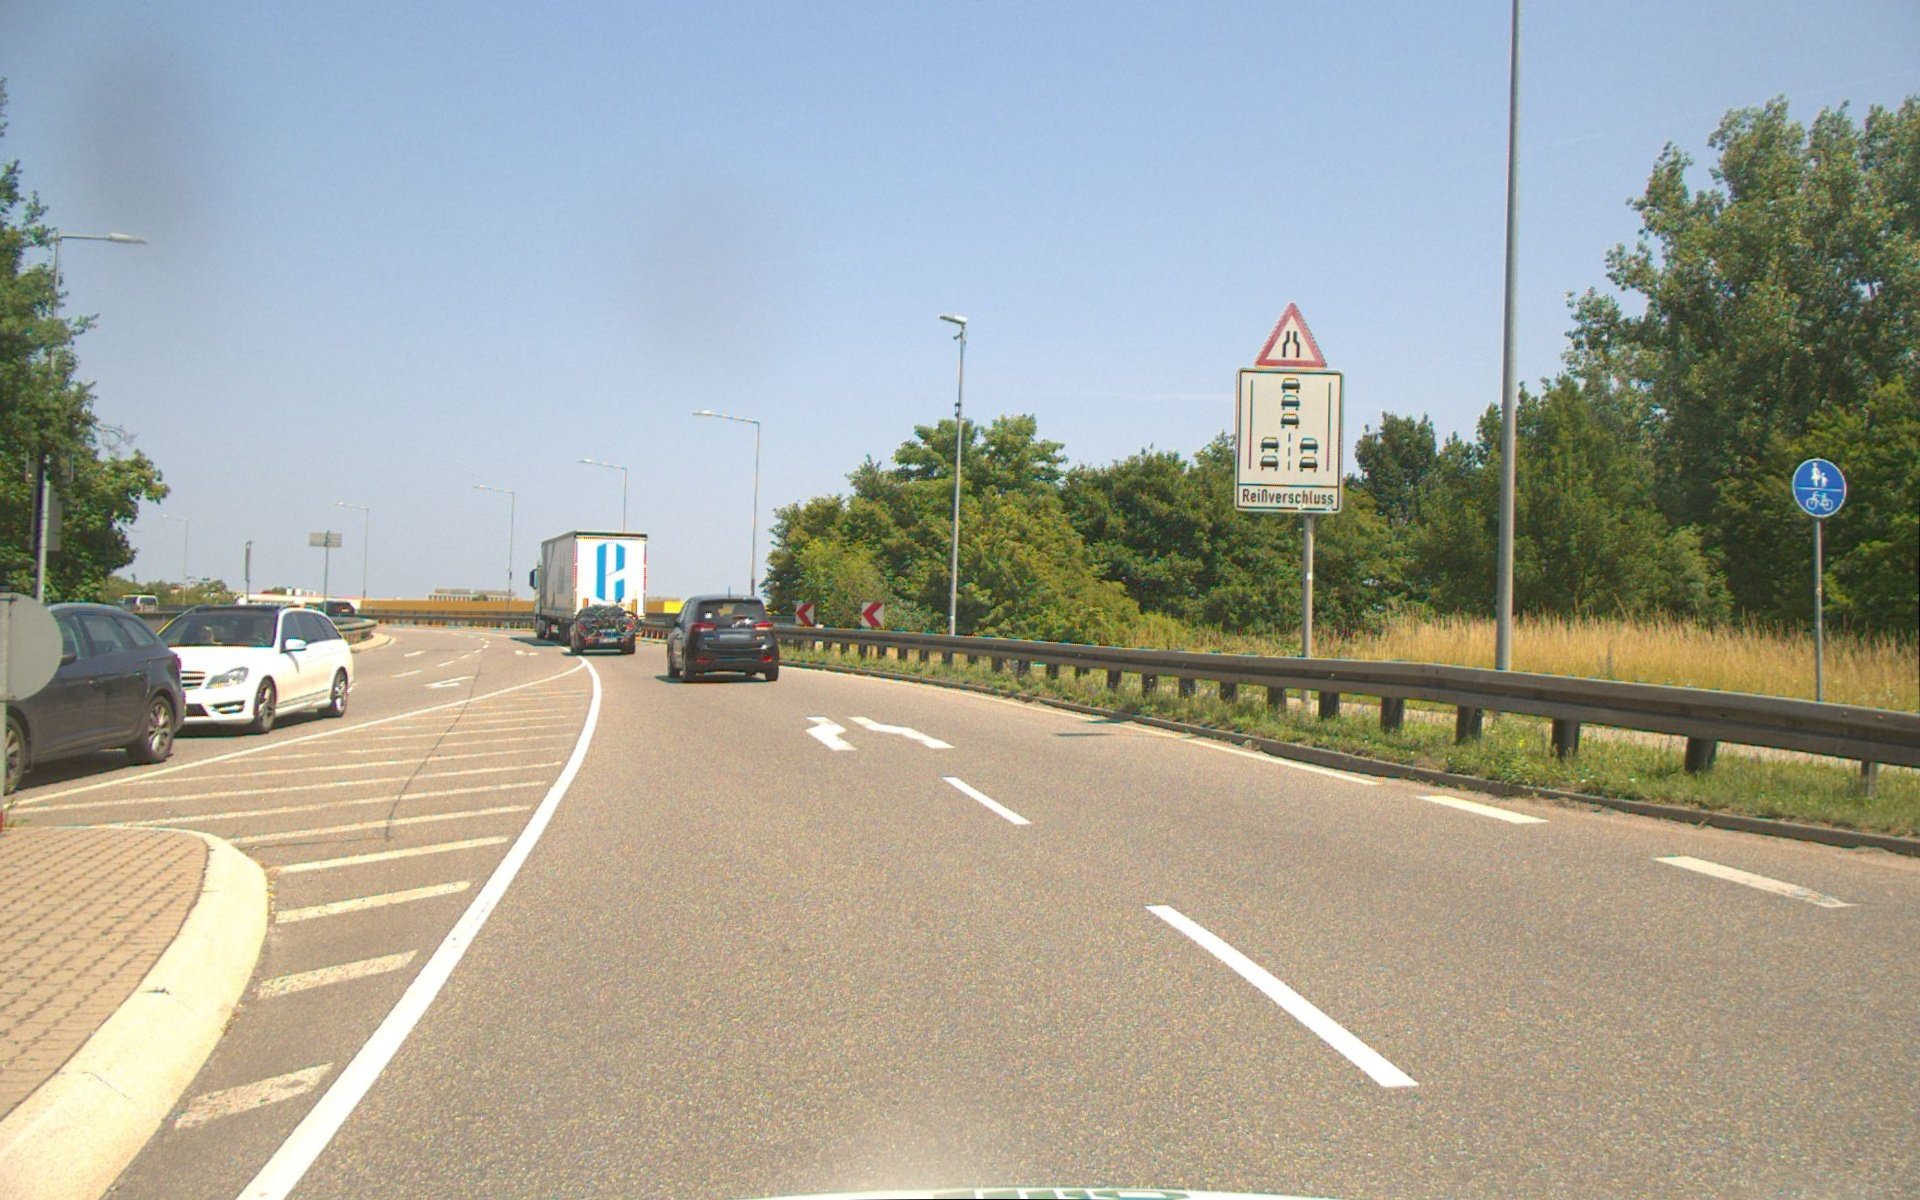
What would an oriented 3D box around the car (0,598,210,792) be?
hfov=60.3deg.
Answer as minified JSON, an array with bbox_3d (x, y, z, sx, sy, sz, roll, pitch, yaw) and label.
[{"bbox_3d":[-8.030,0.703,13.672,1.791,1.431,4.544,0,0,-3],"label":"car"}]

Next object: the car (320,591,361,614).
[{"bbox_3d":[-42.850,0.152,114.358,1.825,1.534,3.588,1,0,-36],"label":"car"}]

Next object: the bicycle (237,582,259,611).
[{"bbox_3d":[-45.588,-0.203,105.860,0.694,1.833,2.149,1,0,-40],"label":"bicycle"}]

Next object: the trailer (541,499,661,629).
[{"bbox_3d":[-13.971,-1.250,63.499,3.513,4.461,11.385,1,0,-17],"label":"trailer"}]

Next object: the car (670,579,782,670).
[{"bbox_3d":[-4.518,0.447,31.485,1.887,1.601,3.881,1,0,-11],"label":"car"}]

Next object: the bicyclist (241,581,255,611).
[{"bbox_3d":[-45.572,-0.270,105.824,0.620,1.919,0.702,1,-1,-40],"label":"bicyclist"}]

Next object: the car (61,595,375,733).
[{"bbox_3d":[-8.722,0.688,19.968,1.791,1.431,4.884,1,0,-3],"label":"car"}]

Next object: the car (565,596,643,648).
[{"bbox_3d":[-10.479,0.617,48.480,1.979,1.454,3.760,1,0,-16],"label":"car"}]

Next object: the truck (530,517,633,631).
[{"bbox_3d":[-16.120,-1.043,70.146,3.519,4.519,6.478,1,0,-19],"label":"truck"}]
